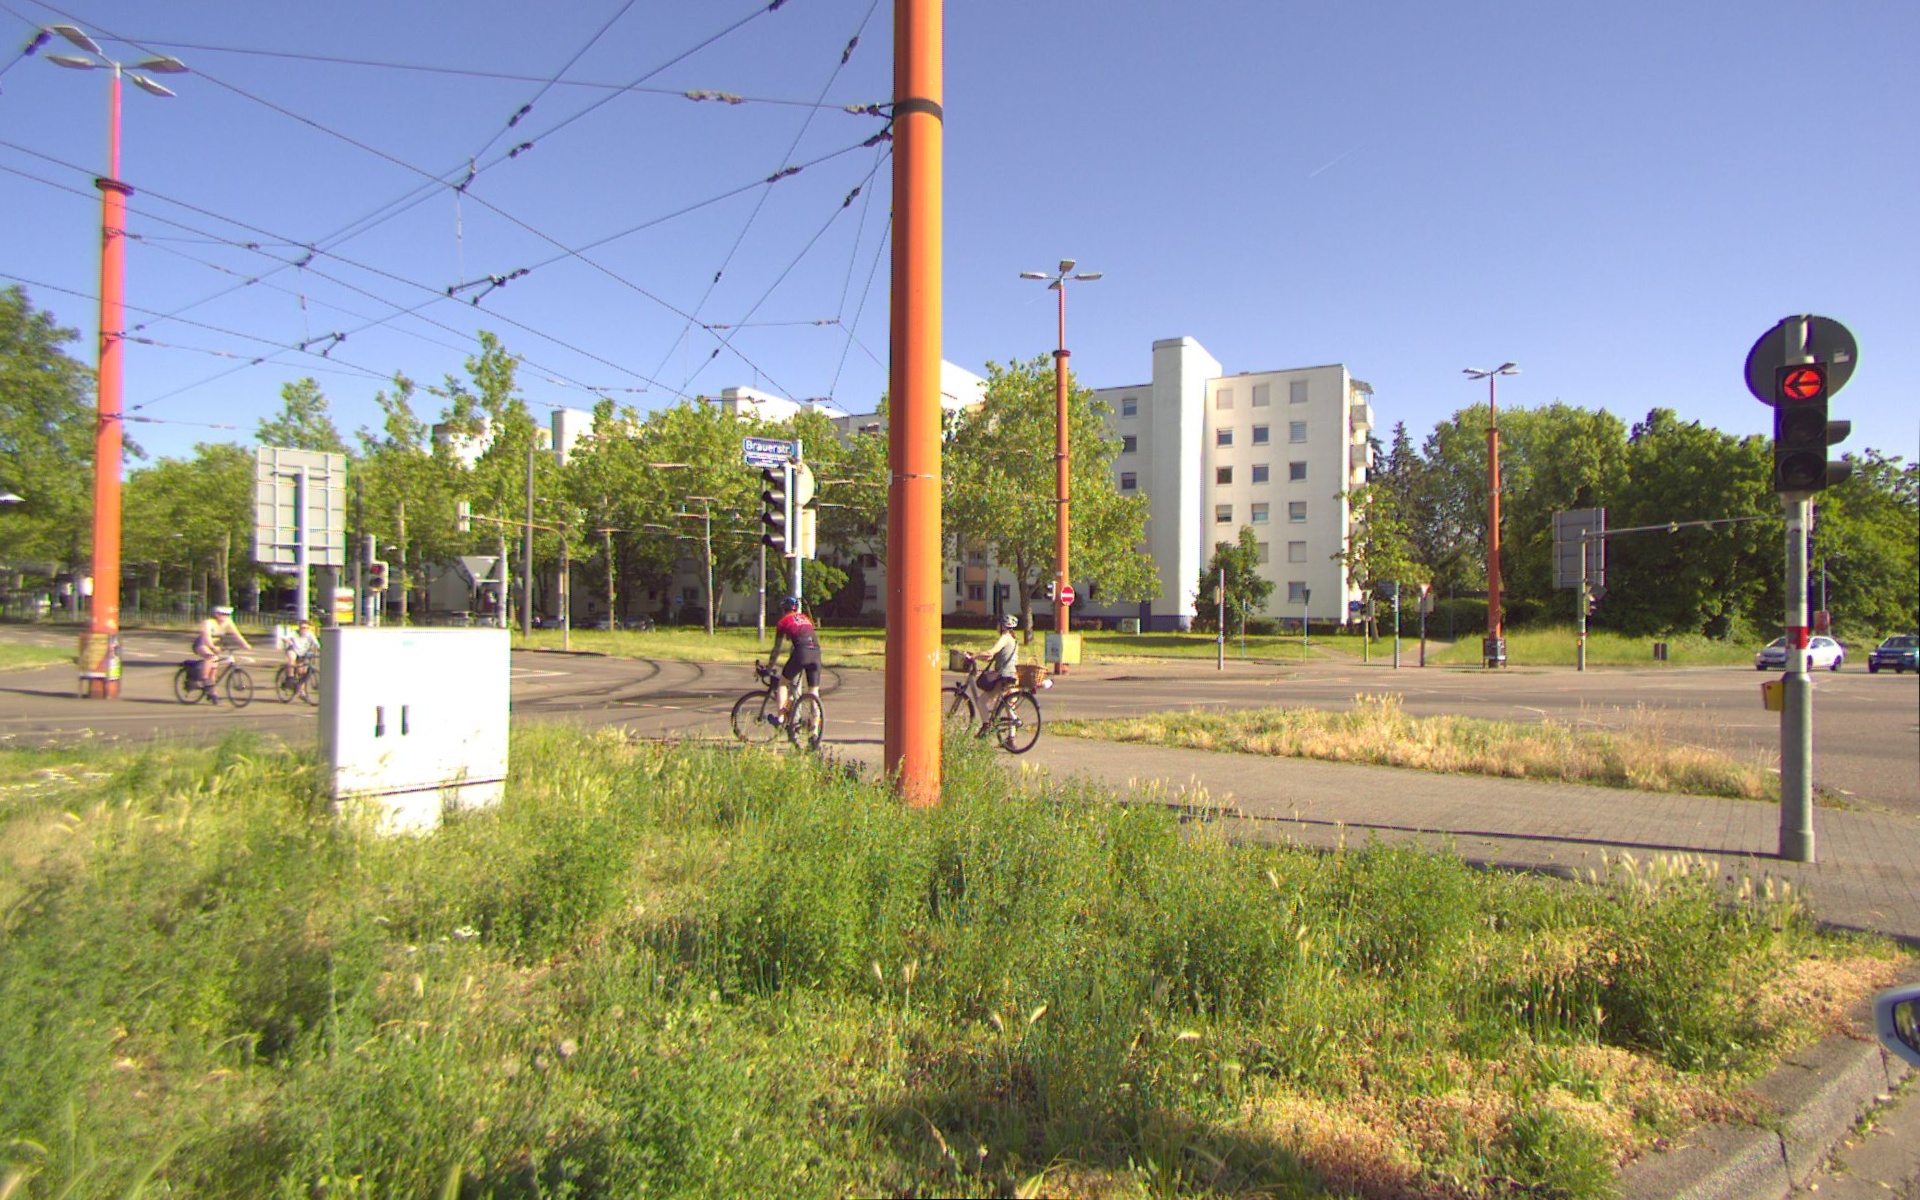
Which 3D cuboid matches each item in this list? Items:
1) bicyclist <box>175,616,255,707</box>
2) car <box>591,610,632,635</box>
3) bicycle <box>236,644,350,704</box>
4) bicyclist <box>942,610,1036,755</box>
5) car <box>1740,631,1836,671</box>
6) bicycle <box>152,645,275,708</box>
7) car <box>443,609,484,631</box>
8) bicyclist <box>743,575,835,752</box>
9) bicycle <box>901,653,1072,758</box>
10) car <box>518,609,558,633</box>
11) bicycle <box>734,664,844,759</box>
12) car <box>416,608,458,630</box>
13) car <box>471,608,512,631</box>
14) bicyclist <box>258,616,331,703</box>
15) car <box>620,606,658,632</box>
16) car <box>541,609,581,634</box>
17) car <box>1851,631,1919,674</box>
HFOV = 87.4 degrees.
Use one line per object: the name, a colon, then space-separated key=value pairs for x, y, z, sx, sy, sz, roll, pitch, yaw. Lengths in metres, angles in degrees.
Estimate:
bicyclist: x=-14.006 y=1.135 z=18.893 sx=0.726 sy=1.659 sz=0.934 roll=0 pitch=-1 yaw=18
car: x=-26.115 y=1.689 z=75.325 sx=1.962 sy=1.840 sz=3.997 roll=1 pitch=-1 yaw=-5
bicycle: x=-13.255 y=1.444 z=19.976 sx=1.849 sy=1.102 sz=0.928 roll=0 pitch=-1 yaw=18
bicyclist: x=0.355 y=0.958 z=12.094 sx=0.728 sy=1.659 sz=0.931 roll=0 pitch=-1 yaw=35
car: x=35.139 y=2.149 z=42.603 sx=4.075 sy=1.594 sz=1.983 roll=1 pitch=-1 yaw=-32
bicycle: x=-14.033 y=1.414 z=18.892 sx=1.849 sy=1.102 sz=0.928 roll=0 pitch=-1 yaw=18
car: x=-42.679 y=1.703 z=86.443 sx=1.963 sy=1.840 sz=3.995 roll=1 pitch=-1 yaw=-8
bicyclist: x=-2.070 y=0.749 z=12.136 sx=0.921 sy=2.040 sz=0.736 roll=1 pitch=-1 yaw=-25
bicycle: x=0.311 y=1.228 z=12.118 sx=1.855 sy=1.102 sz=0.925 roll=0 pitch=-1 yaw=34
car: x=-33.814 y=1.673 z=80.524 sx=1.963 sy=1.840 sz=3.995 roll=1 pitch=-1 yaw=-8
bicycle: x=-2.119 y=1.309 z=12.232 sx=0.915 sy=0.976 sz=1.747 roll=1 pitch=-1 yaw=-24
car: x=-46.029 y=1.679 z=88.472 sx=1.963 sy=1.840 sz=3.995 roll=1 pitch=-1 yaw=-8
car: x=-39.290 y=1.644 z=84.322 sx=1.963 sy=1.840 sz=3.995 roll=1 pitch=-1 yaw=-8
bicyclist: x=-13.216 y=1.164 z=19.965 sx=0.726 sy=1.659 sz=0.934 roll=0 pitch=-1 yaw=18
car: x=-23.409 y=1.401 z=73.413 sx=1.963 sy=1.840 sz=3.995 roll=1 pitch=-1 yaw=-8
car: x=-31.198 y=1.678 z=78.674 sx=1.963 sy=1.840 sz=3.995 roll=1 pitch=-1 yaw=-8
car: x=37.263 y=2.037 z=39.863 sx=4.079 sy=1.594 sz=1.981 roll=2 pitch=-1 yaw=-35
